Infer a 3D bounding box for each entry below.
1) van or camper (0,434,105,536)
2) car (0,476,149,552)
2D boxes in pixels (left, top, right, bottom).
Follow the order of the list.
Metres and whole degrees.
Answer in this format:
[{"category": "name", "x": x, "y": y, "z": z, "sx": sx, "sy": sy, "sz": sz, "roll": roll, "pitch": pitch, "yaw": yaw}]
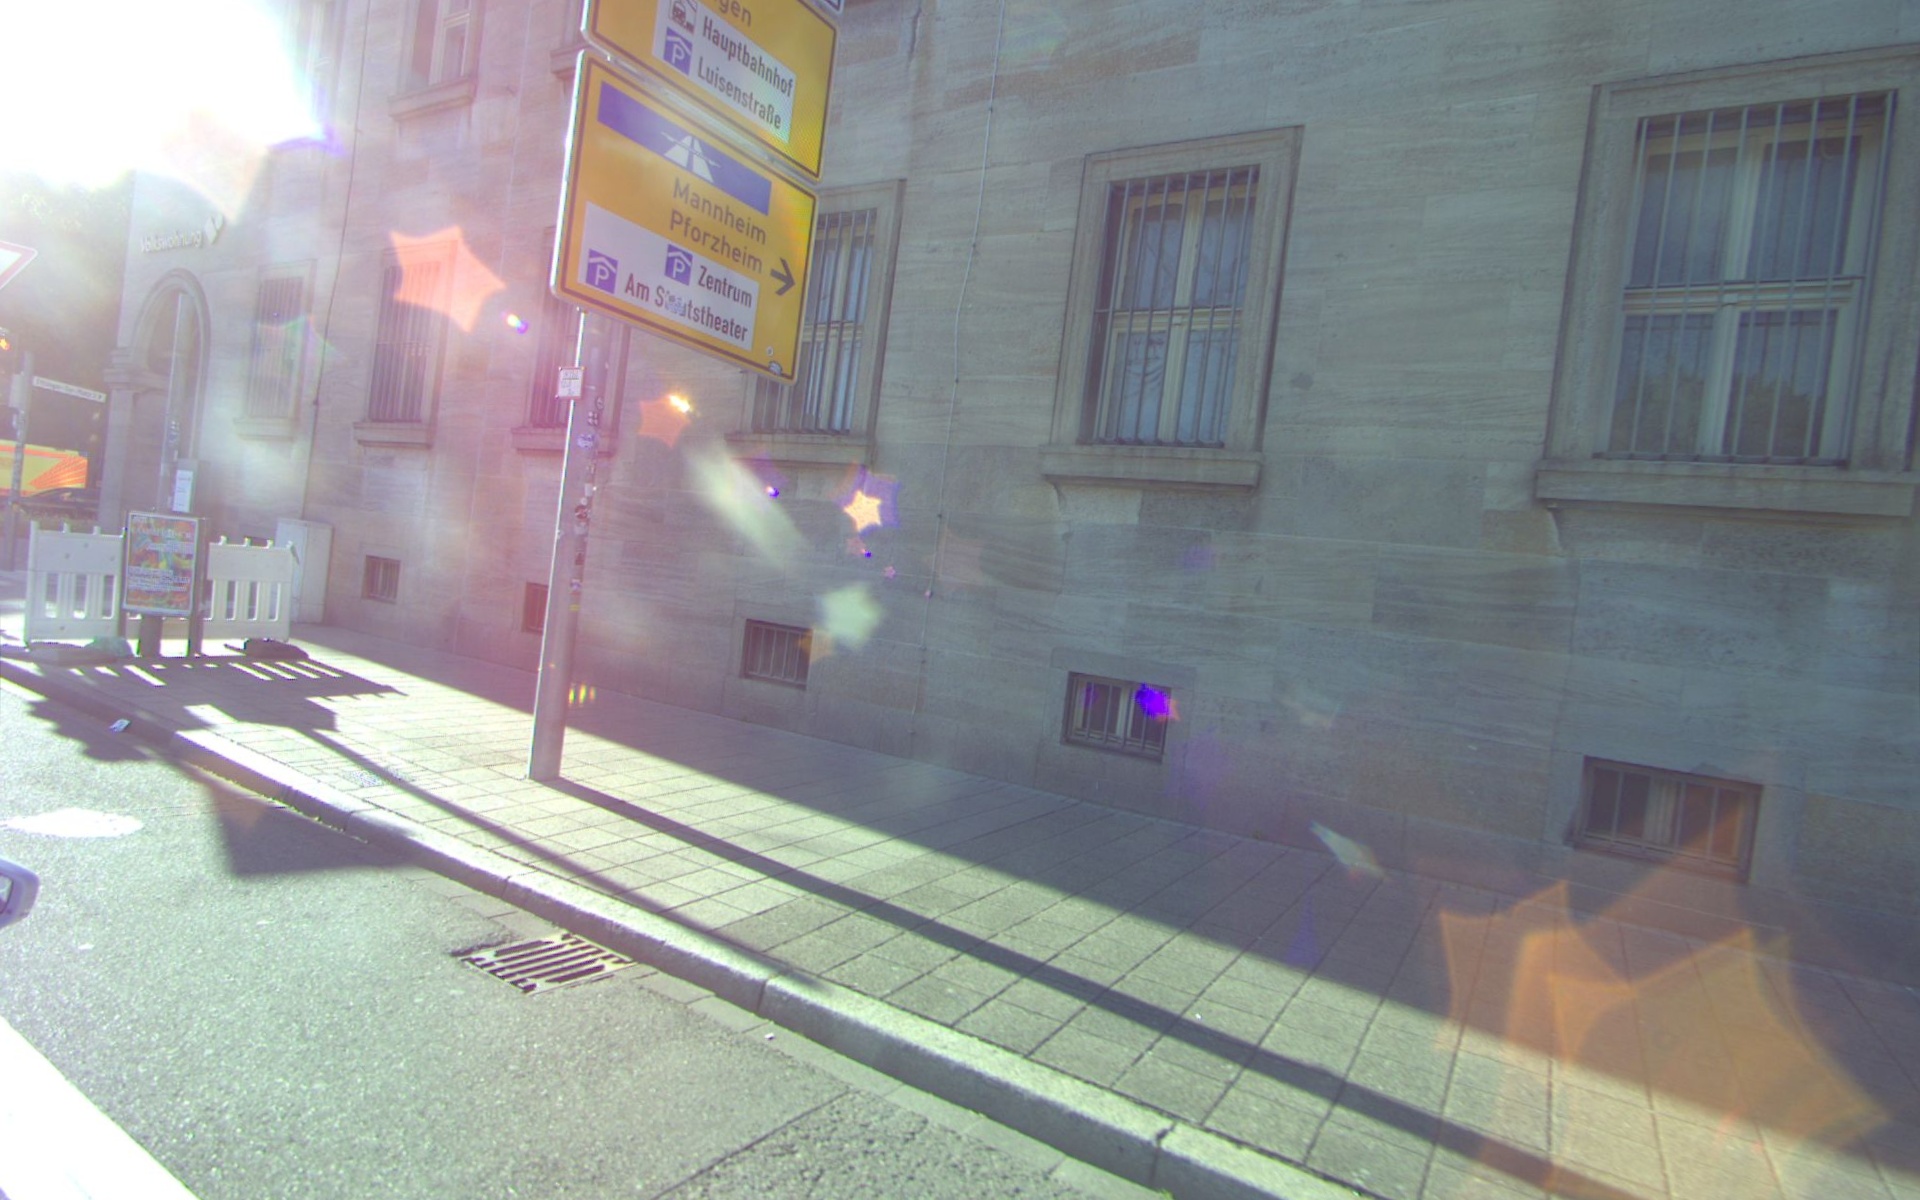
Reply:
[{"category": "van or camper", "x": -32.819, "y": -4.152, "z": 32.889, "sx": 2.866, "sy": 2.893, "sz": 6.715, "roll": 6, "pitch": -3, "yaw": 36}, {"category": "car", "x": -27.763, "y": -2.682, "z": 30.618, "sx": 1.857, "sy": 1.665, "sz": 4.323, "roll": 6, "pitch": -3, "yaw": 32}]
